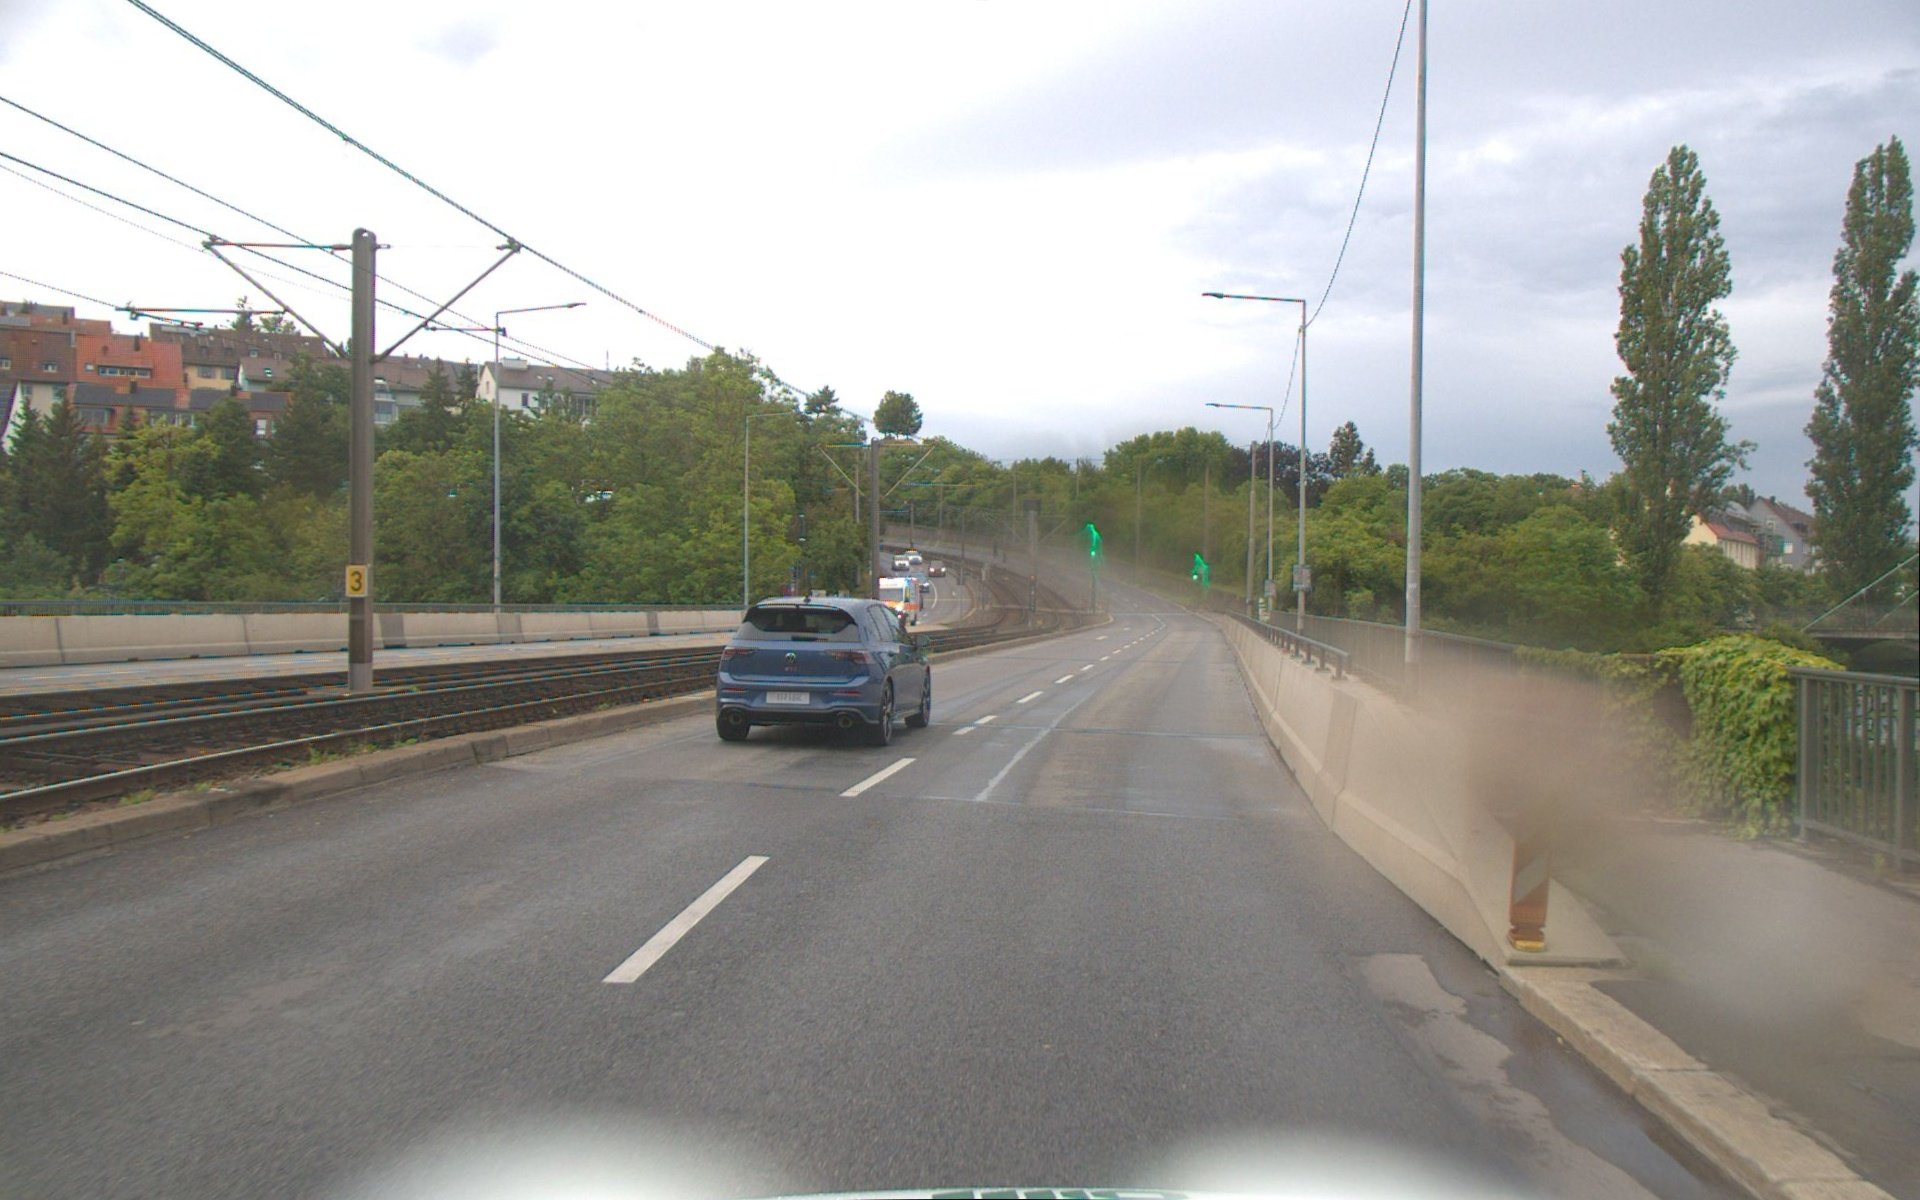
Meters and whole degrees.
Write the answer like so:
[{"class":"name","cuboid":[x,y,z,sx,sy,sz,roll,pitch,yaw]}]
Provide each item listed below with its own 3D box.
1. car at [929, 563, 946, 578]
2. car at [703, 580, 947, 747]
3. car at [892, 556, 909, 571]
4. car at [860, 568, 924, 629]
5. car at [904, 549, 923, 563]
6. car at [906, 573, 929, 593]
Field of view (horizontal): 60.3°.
[{"class":"car","cuboid":[-2.310,-2.998,168.611,1.569,1.519,3.014,-1,1,-5]},{"class":"car","cuboid":[-1.313,0.622,17.741,1.726,1.527,4.003,2,0,8]},{"class":"car","cuboid":[-6.502,-3.990,180.743,1.784,1.541,4.526,1,-1,-3]},{"class":"car","cuboid":[-3.702,-0.038,91.642,2.339,3.170,6.362,2,0,8]},{"class":"car","cuboid":[-5.461,-5.119,193.030,1.697,1.462,4.483,0,-1,-8]},{"class":"car","cuboid":[-3.801,-1.467,146.873,1.930,1.625,5.180,0,-1,-4]}]
